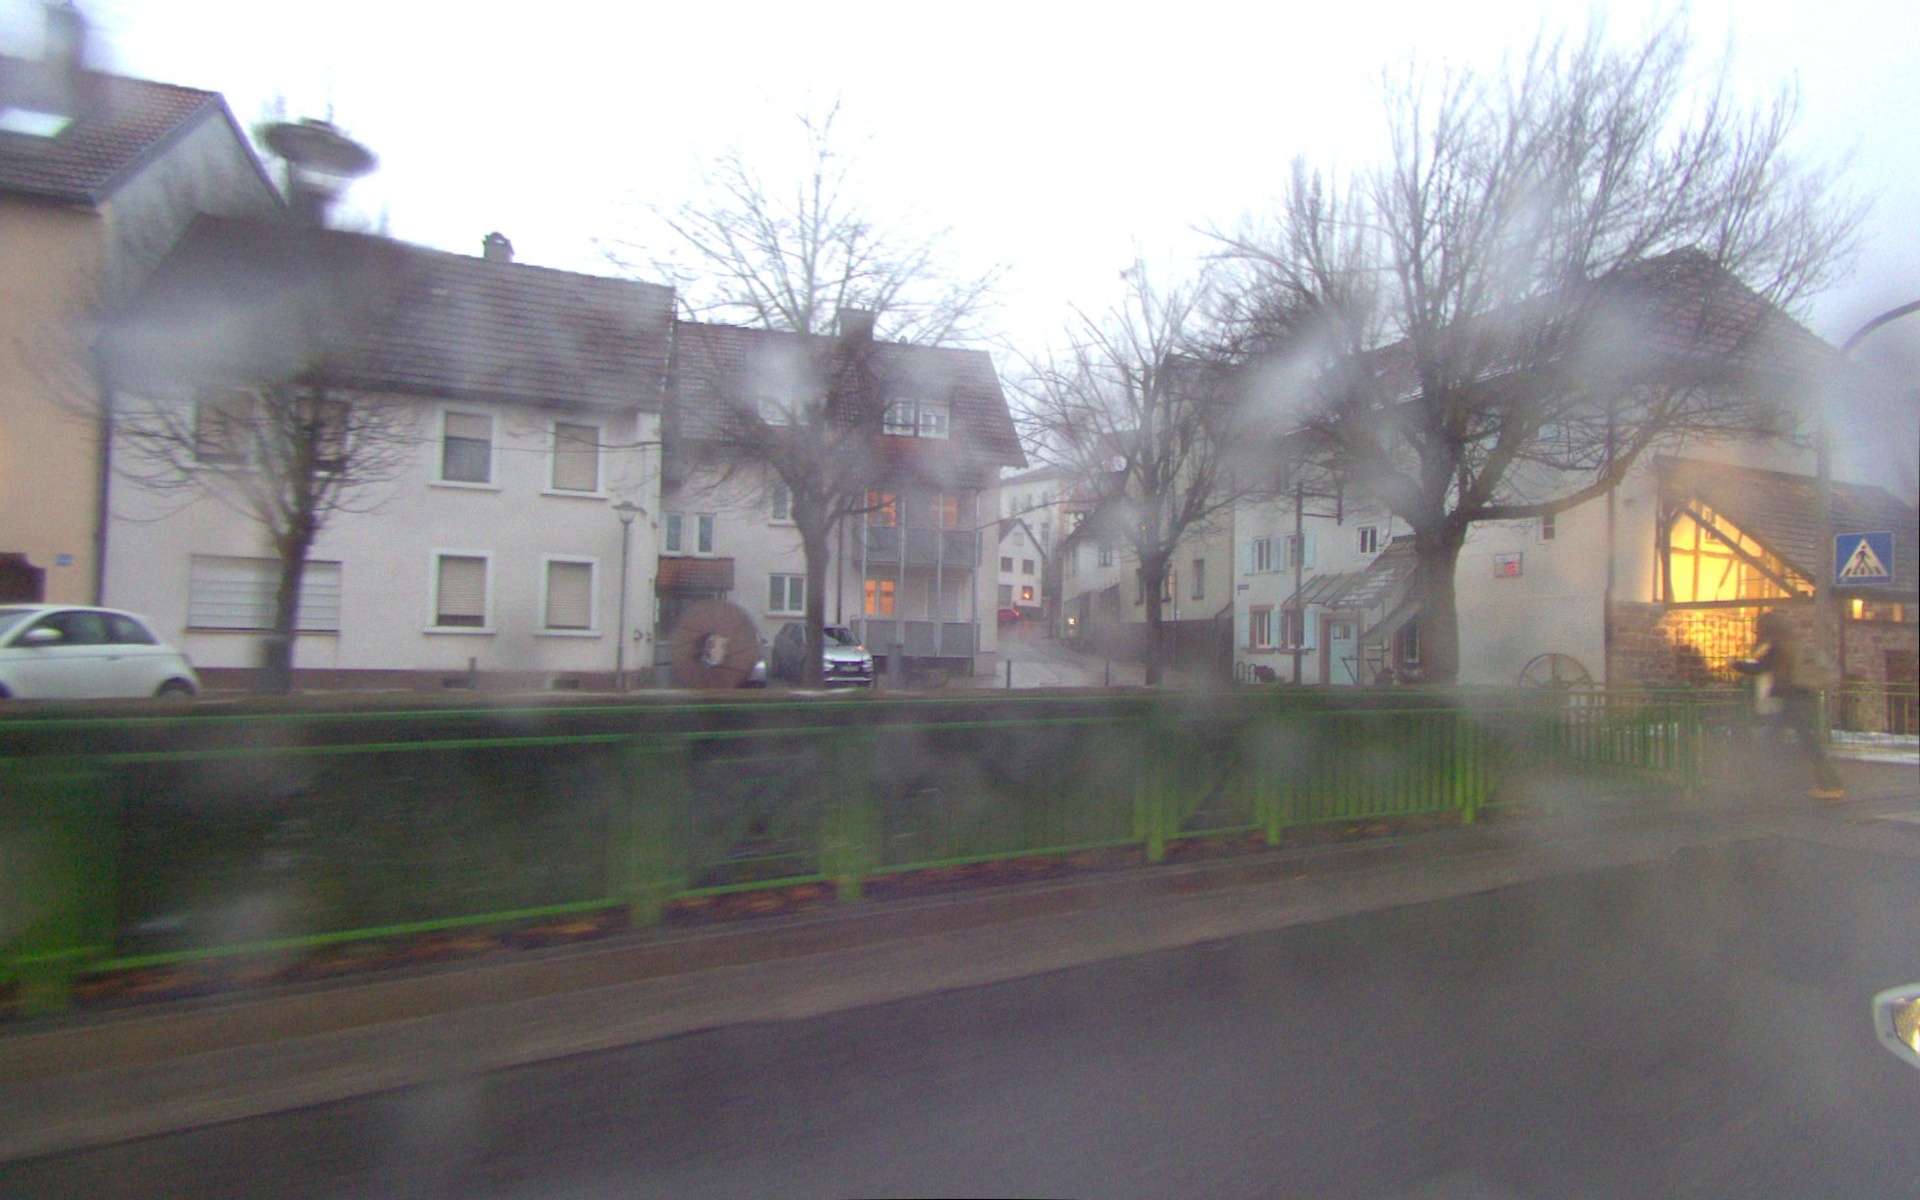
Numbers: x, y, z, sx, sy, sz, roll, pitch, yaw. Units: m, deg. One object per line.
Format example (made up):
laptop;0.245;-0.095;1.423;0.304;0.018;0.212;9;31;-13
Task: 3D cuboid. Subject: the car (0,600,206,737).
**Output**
car;-10.736;0.719;11.346;1.578;1.428;3.488;1;-1;6

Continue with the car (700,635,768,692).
car;-5.864;1.606;25.919;1.504;1.142;3.043;1;2;-16

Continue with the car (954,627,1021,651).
car;1.300;1.867;47.959;2.983;1.012;1.422;1;0;-12

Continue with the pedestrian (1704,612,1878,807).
pedestrian;7.948;1.013;9.641;0.939;1.757;0.880;1;-2;-15

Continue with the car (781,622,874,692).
car;-3.595;1.467;26.780;1.687;1.633;3.593;1;0;-20
